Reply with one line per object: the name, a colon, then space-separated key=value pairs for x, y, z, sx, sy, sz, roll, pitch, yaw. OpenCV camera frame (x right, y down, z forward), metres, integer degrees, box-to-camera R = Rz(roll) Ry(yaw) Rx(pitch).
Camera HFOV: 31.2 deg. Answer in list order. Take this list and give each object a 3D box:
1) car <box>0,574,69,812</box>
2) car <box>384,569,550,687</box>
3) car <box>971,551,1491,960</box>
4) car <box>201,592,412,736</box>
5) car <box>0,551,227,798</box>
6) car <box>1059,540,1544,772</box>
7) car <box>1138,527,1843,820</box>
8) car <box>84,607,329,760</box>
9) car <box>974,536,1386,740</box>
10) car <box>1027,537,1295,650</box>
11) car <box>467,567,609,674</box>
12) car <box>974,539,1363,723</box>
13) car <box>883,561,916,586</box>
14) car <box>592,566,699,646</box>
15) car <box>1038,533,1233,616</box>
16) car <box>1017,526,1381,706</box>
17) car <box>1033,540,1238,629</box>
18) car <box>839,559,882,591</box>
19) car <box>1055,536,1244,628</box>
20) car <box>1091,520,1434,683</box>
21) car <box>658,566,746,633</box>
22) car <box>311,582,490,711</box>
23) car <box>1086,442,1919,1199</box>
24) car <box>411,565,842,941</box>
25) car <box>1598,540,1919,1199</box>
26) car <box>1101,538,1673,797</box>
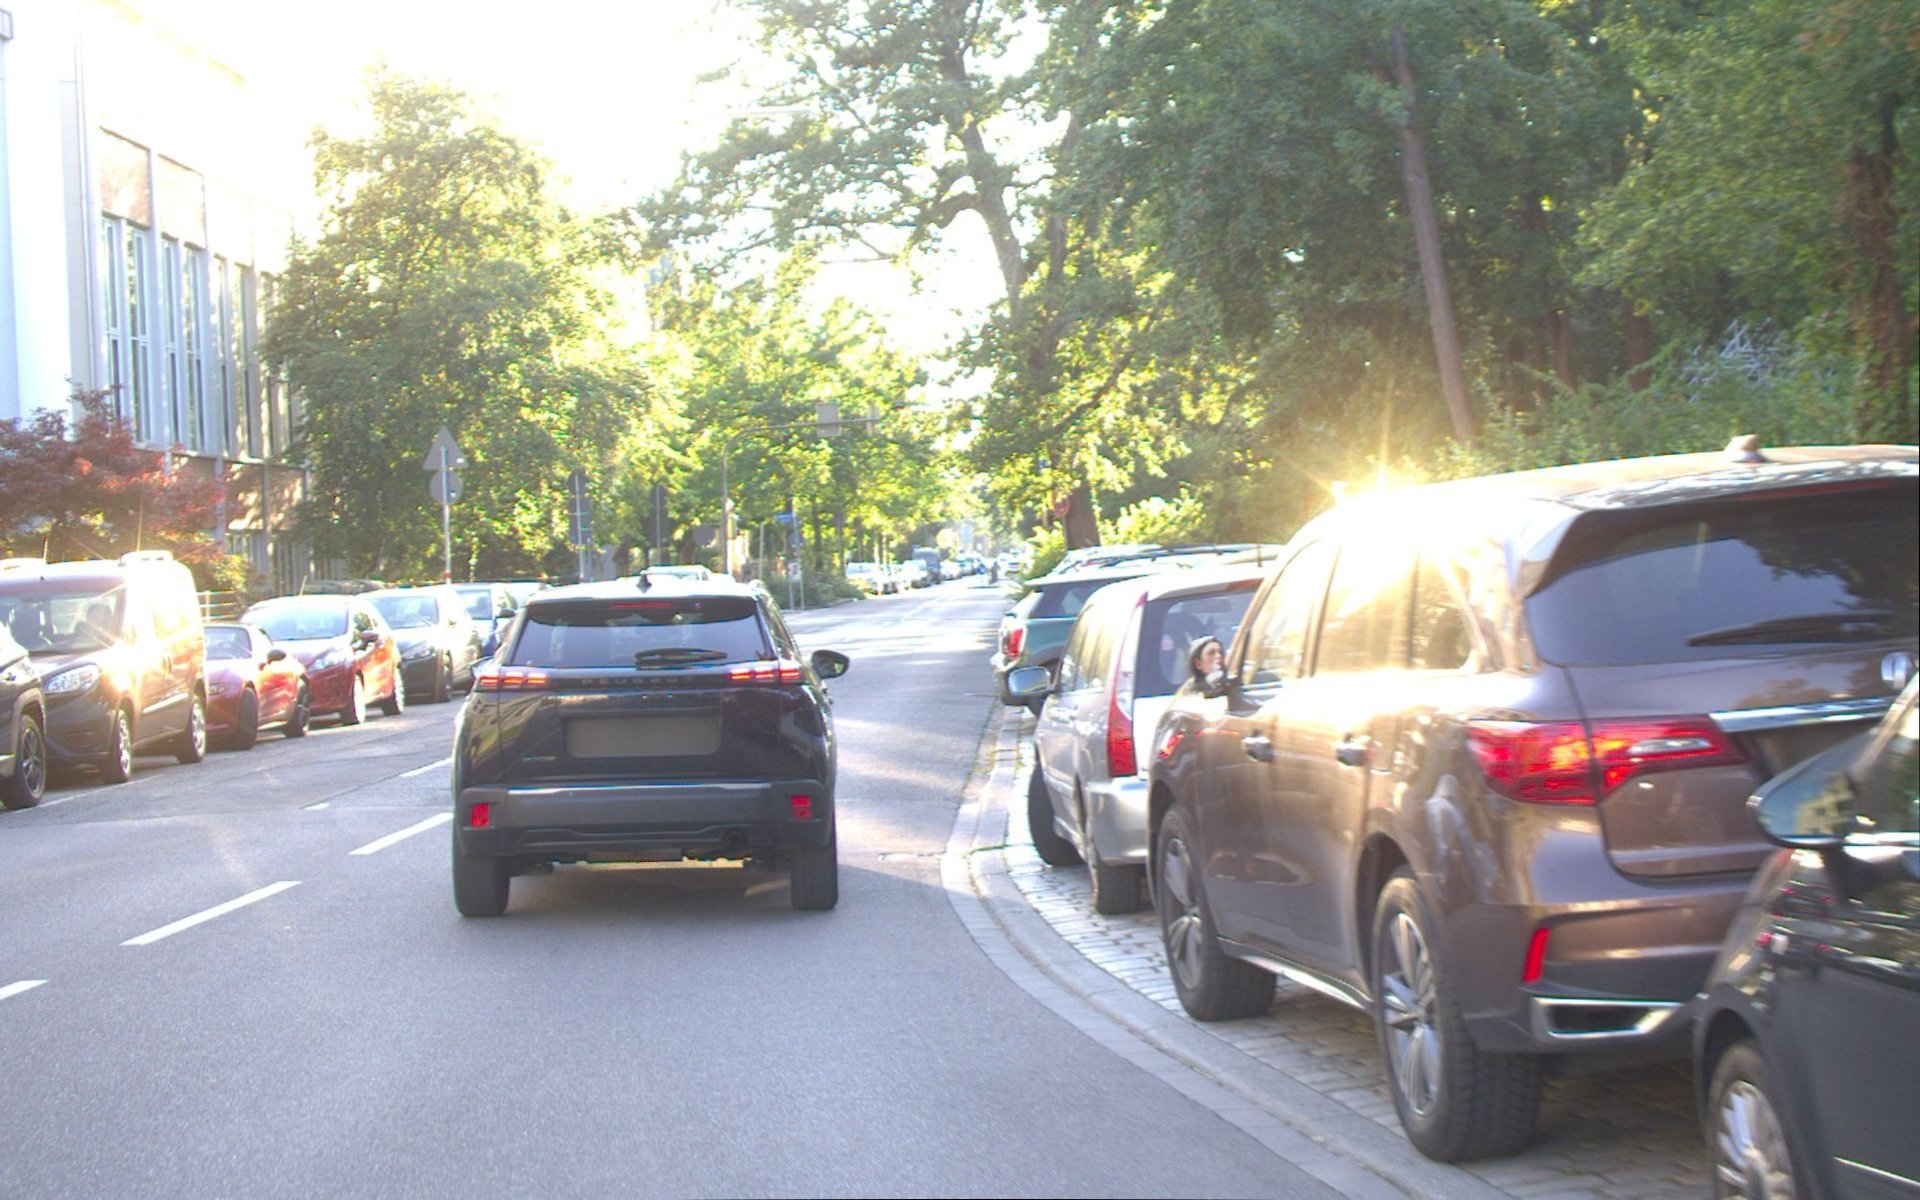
car: x=-7.766 y=0.737 z=24.167 sx=1.742 sy=1.670 sz=4.417 roll=-4 pitch=1 yaw=0
car: x=-7.183 y=0.376 z=50.364 sx=1.598 sy=1.502 sz=3.787 roll=-4 pitch=1 yaw=3
car: x=1.108 y=0.603 z=16.019 sx=1.650 sy=1.562 sz=4.302 roll=-3 pitch=1 yaw=-5
car: x=-7.402 y=0.686 z=39.239 sx=1.598 sy=1.450 sz=3.862 roll=-3 pitch=1 yaw=0
car: x=-7.739 y=0.595 z=29.622 sx=1.807 sy=1.883 sz=4.238 roll=-4 pitch=1 yaw=0
car: x=2.490 y=0.395 z=25.651 sx=3.385 sy=1.520 sz=1.671 roll=-3 pitch=1 yaw=0
car: x=3.125 y=0.418 z=20.838 sx=3.949 sy=1.507 sz=1.739 roll=-3 pitch=1 yaw=1
car: x=-7.532 y=0.797 z=34.677 sx=1.556 sy=1.275 sz=3.733 roll=-4 pitch=1 yaw=0
car: x=2.011 y=0.331 z=32.143 sx=3.610 sy=1.520 sz=1.672 roll=-6 pitch=1 yaw=0
car: x=3.365 y=-0.123 z=57.952 sx=4.338 sy=1.470 sz=1.742 roll=-5 pitch=2 yaw=2
car: x=-6.706 y=0.300 z=54.974 sx=1.601 sy=1.488 sz=3.772 roll=-4 pitch=1 yaw=2
car: x=2.042 y=0.288 z=34.463 sx=3.666 sy=1.440 sz=1.735 roll=-6 pitch=1 yaw=0
car: x=-3.544 y=-1.536 z=201.419 sx=1.810 sy=1.349 sz=3.979 roll=-3 pitch=1 yaw=-2
car: x=-6.591 y=0.097 z=72.455 sx=1.671 sy=1.488 sz=4.061 roll=-4 pitch=1 yaw=2
car: x=3.898 y=-0.574 z=75.987 sx=4.171 sy=1.704 sz=1.867 roll=-2 pitch=1 yaw=6
car: x=2.536 y=0.150 z=37.128 sx=3.666 sy=1.547 sz=1.735 roll=-6 pitch=1 yaw=0
car: x=3.618 y=-0.329 z=71.257 sx=4.122 sy=1.661 sz=1.723 roll=-3 pitch=1 yaw=2
car: x=-4.668 y=-1.183 z=161.349 sx=1.810 sy=1.349 sz=4.001 roll=-3 pitch=1 yaw=-4
car: x=3.760 y=-0.347 z=68.771 sx=3.588 sy=1.561 sz=1.818 roll=-4 pitch=0 yaw=1
car: x=3.451 y=0.014 z=39.763 sx=3.725 sy=1.493 sz=1.820 roll=-6 pitch=0 yaw=2
car: x=-6.308 y=-0.034 z=84.422 sx=1.679 sy=1.452 sz=3.882 roll=-4 pitch=1 yaw=2
car: x=-7.325 y=0.576 z=45.346 sx=1.598 sy=1.450 sz=4.055 roll=-4 pitch=1 yaw=0
car: x=1.749 y=0.509 z=9.932 sx=1.921 sy=1.742 sz=4.667 roll=-3 pitch=1 yaw=-8
car: x=-1.521 y=0.654 z=16.772 sx=1.768 sy=1.563 sz=3.381 roll=-3 pitch=1 yaw=-1
car: x=2.291 y=0.625 z=5.283 sx=1.619 sy=1.481 sz=3.419 roll=-3 pitch=1 yaw=-6
car: x=2.800 y=0.427 z=23.131 sx=3.627 sy=1.535 sz=1.671 roll=-2 pitch=1 yaw=2
